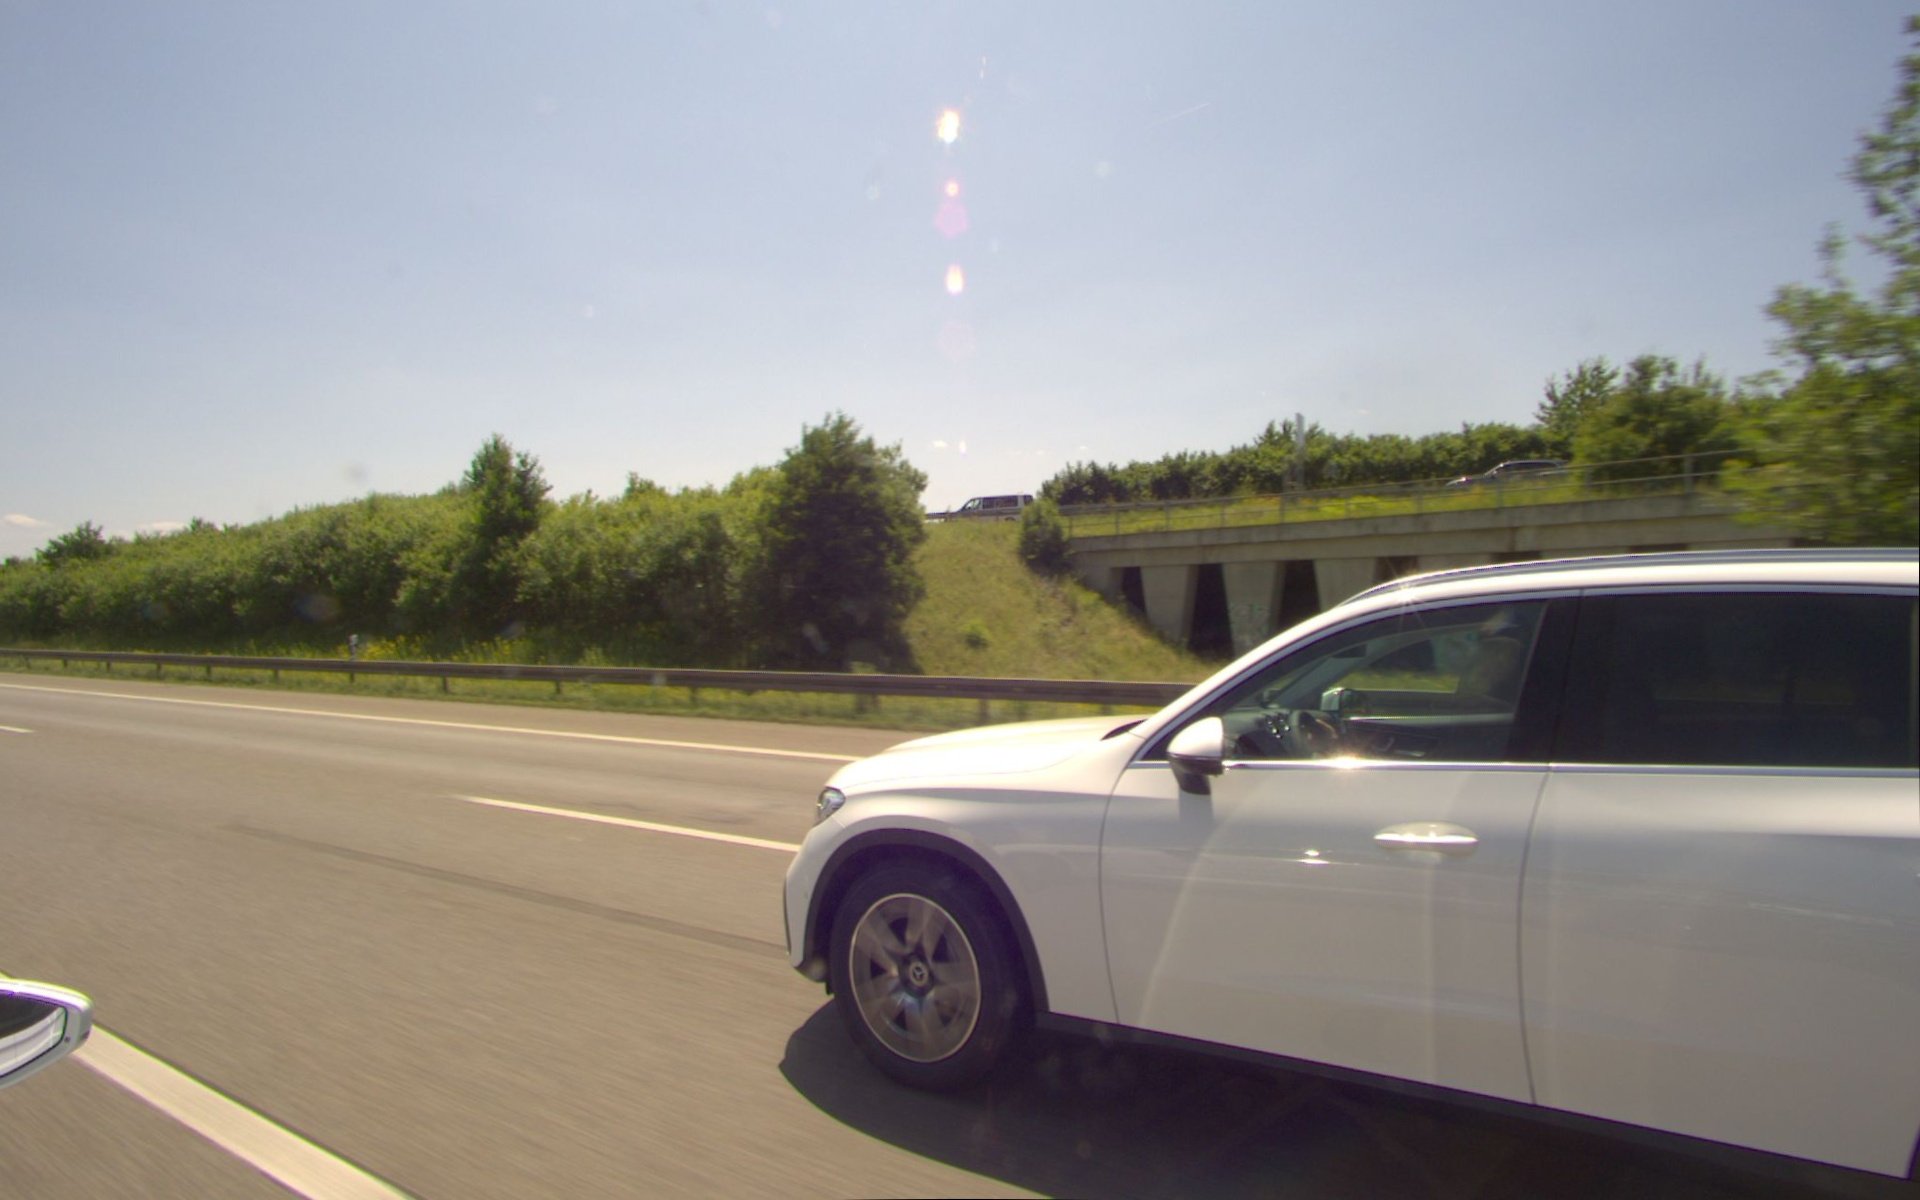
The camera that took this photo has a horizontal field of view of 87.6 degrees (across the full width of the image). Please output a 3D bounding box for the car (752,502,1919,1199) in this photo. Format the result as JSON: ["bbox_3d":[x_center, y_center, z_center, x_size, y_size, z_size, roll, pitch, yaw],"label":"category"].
[{"bbox_3d":[1.709,0.682,3.017,4.571,1.677,1.901,-1,-1,33],"label":"car"}]

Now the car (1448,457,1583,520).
[{"bbox_3d":[21.514,-4.287,38.929,4.460,1.830,1.992,-2,-2,30],"label":"car"}]

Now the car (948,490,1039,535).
[{"bbox_3d":[1.767,-4.595,53.068,4.456,1.830,1.993,-2,-2,27],"label":"car"}]
